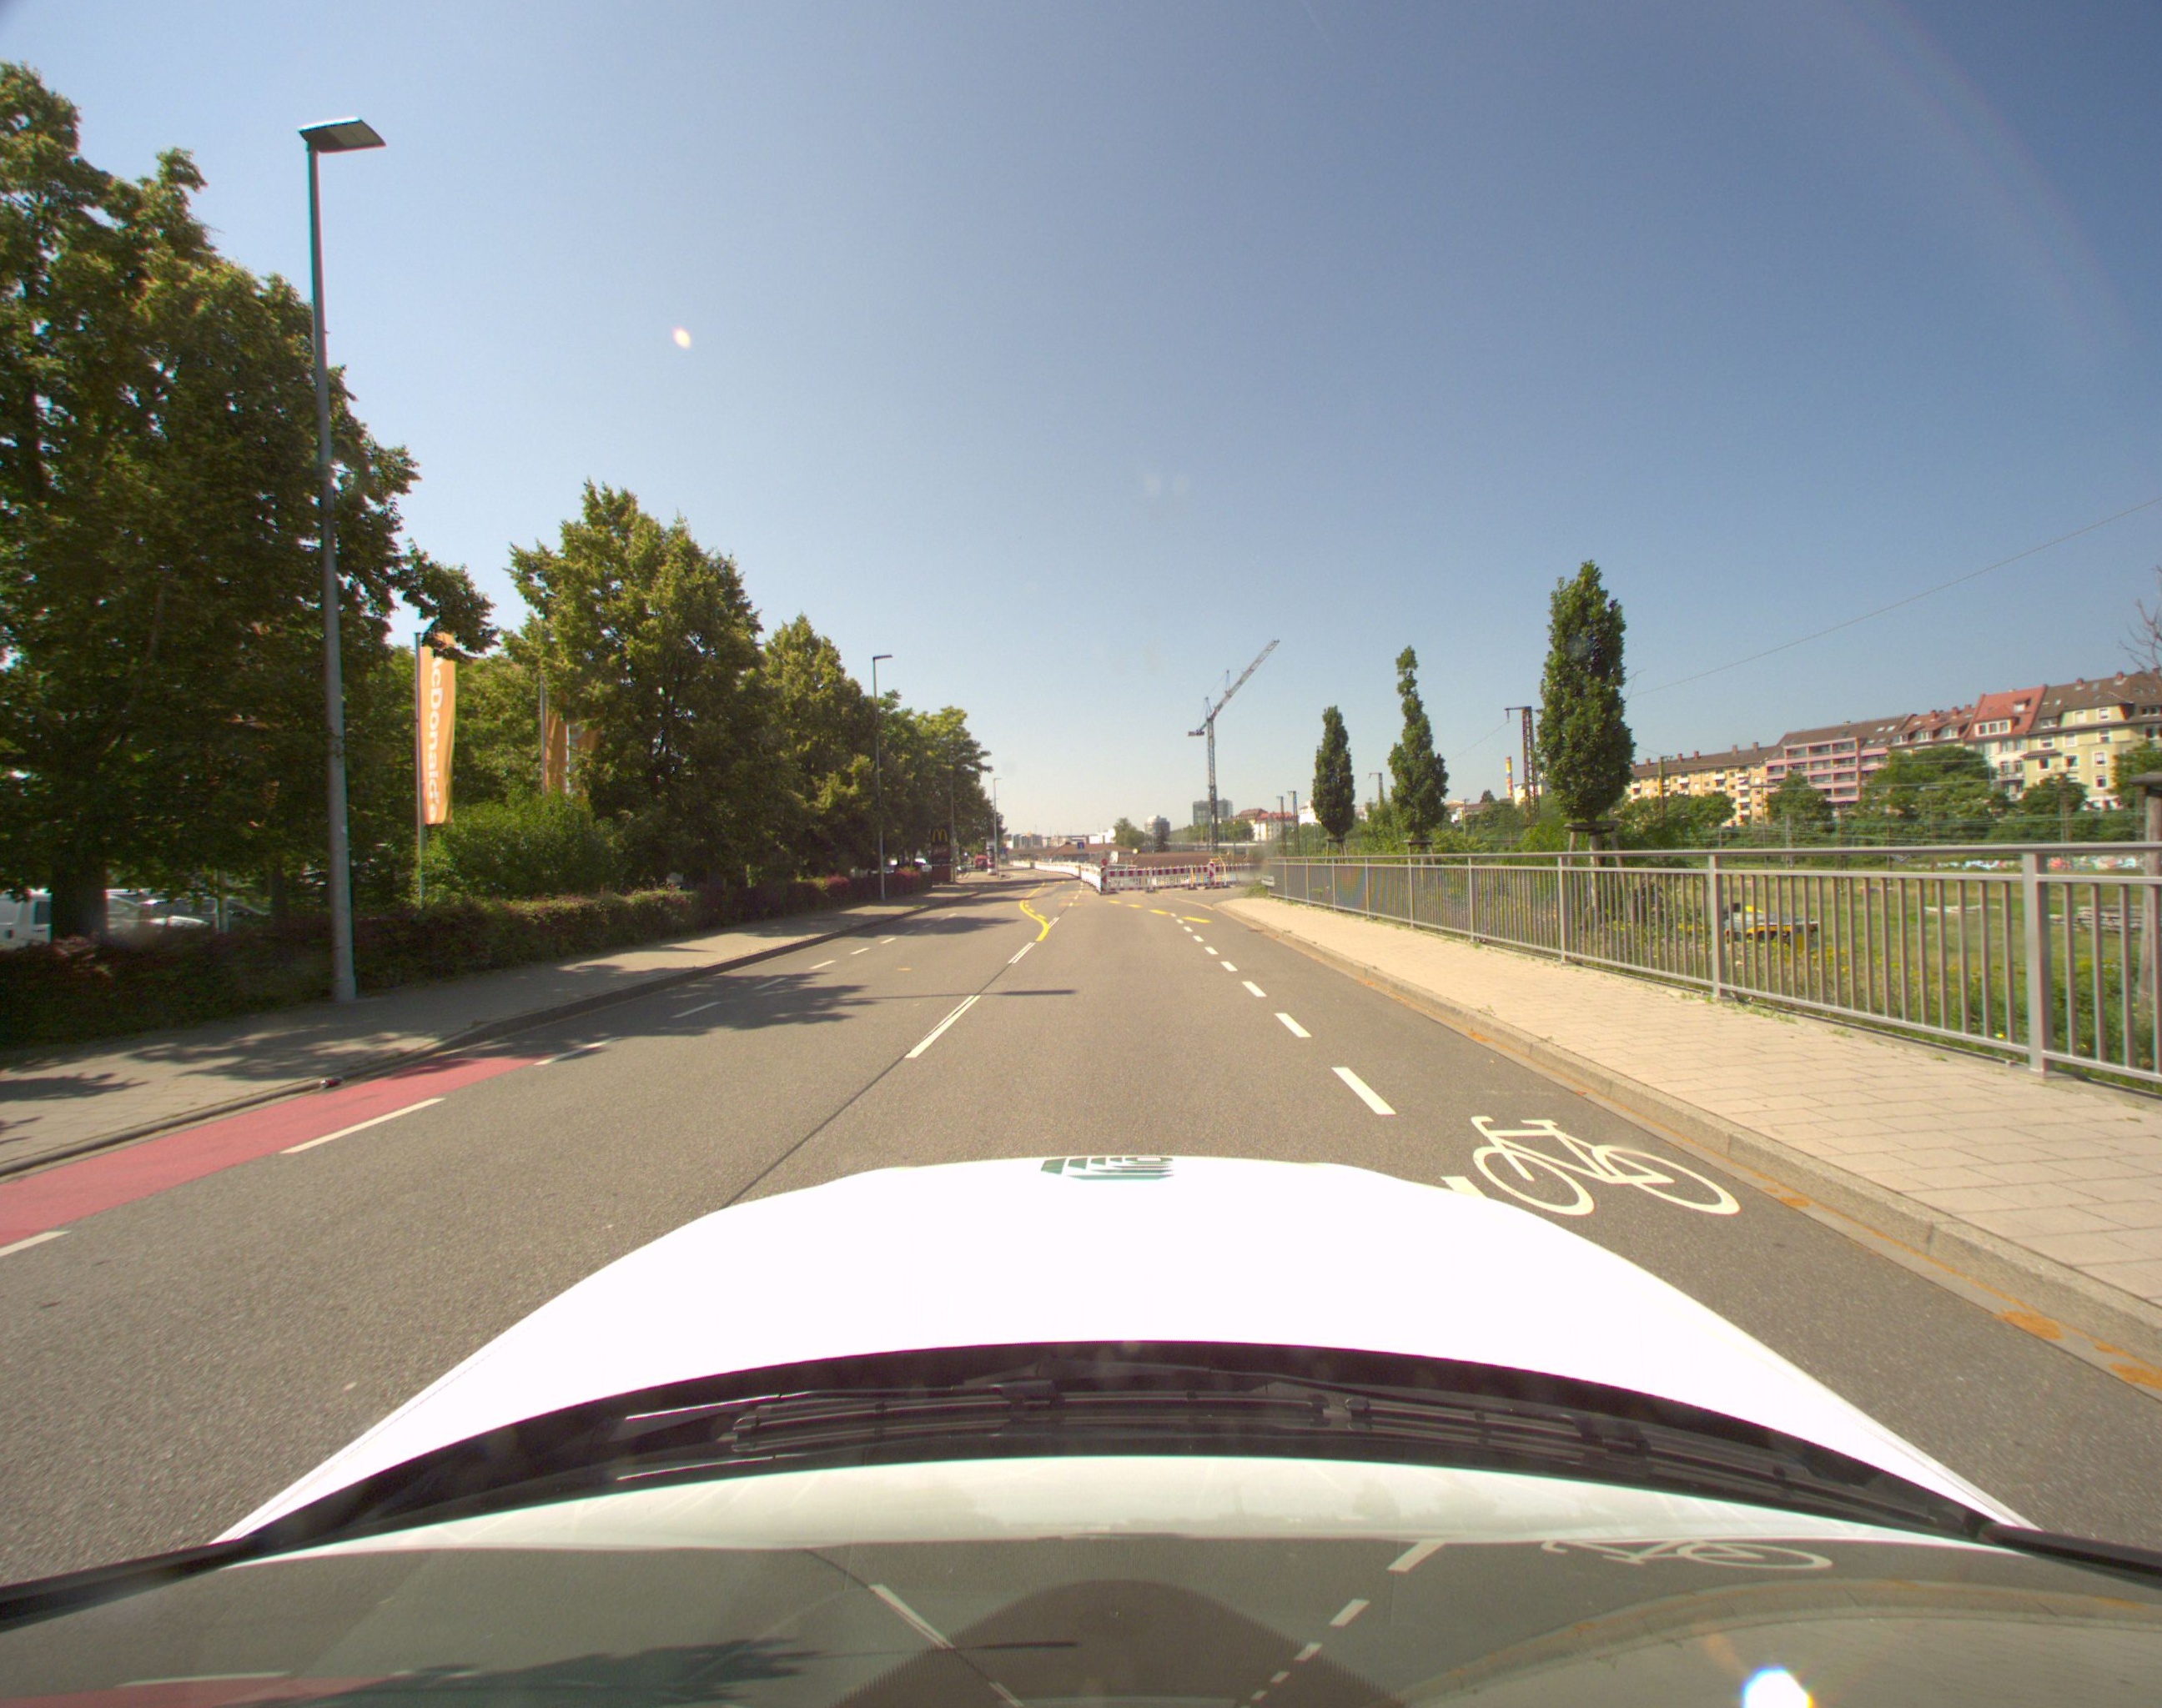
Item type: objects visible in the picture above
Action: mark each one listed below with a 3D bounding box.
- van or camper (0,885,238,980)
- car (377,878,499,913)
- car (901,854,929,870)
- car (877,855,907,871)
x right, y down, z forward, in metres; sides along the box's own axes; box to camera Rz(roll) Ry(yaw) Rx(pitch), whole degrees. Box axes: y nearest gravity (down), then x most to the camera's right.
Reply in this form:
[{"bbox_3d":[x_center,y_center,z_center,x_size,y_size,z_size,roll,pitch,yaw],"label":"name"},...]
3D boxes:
[{"bbox_3d":[-21.775,1.692,17.709,4.278,1.740,1.990,-2,0,-15],"label":"van or camper"},{"bbox_3d":[-32.255,2.053,40.995,4.278,1.438,1.990,-2,0,-15],"label":"car"},{"bbox_3d":[-20.848,1.016,102.223,1.838,1.929,3.954,-2,-1,-38],"label":"car"},{"bbox_3d":[-22.832,1.098,98.473,2.010,1.904,3.954,-2,-1,-38],"label":"car"}]
